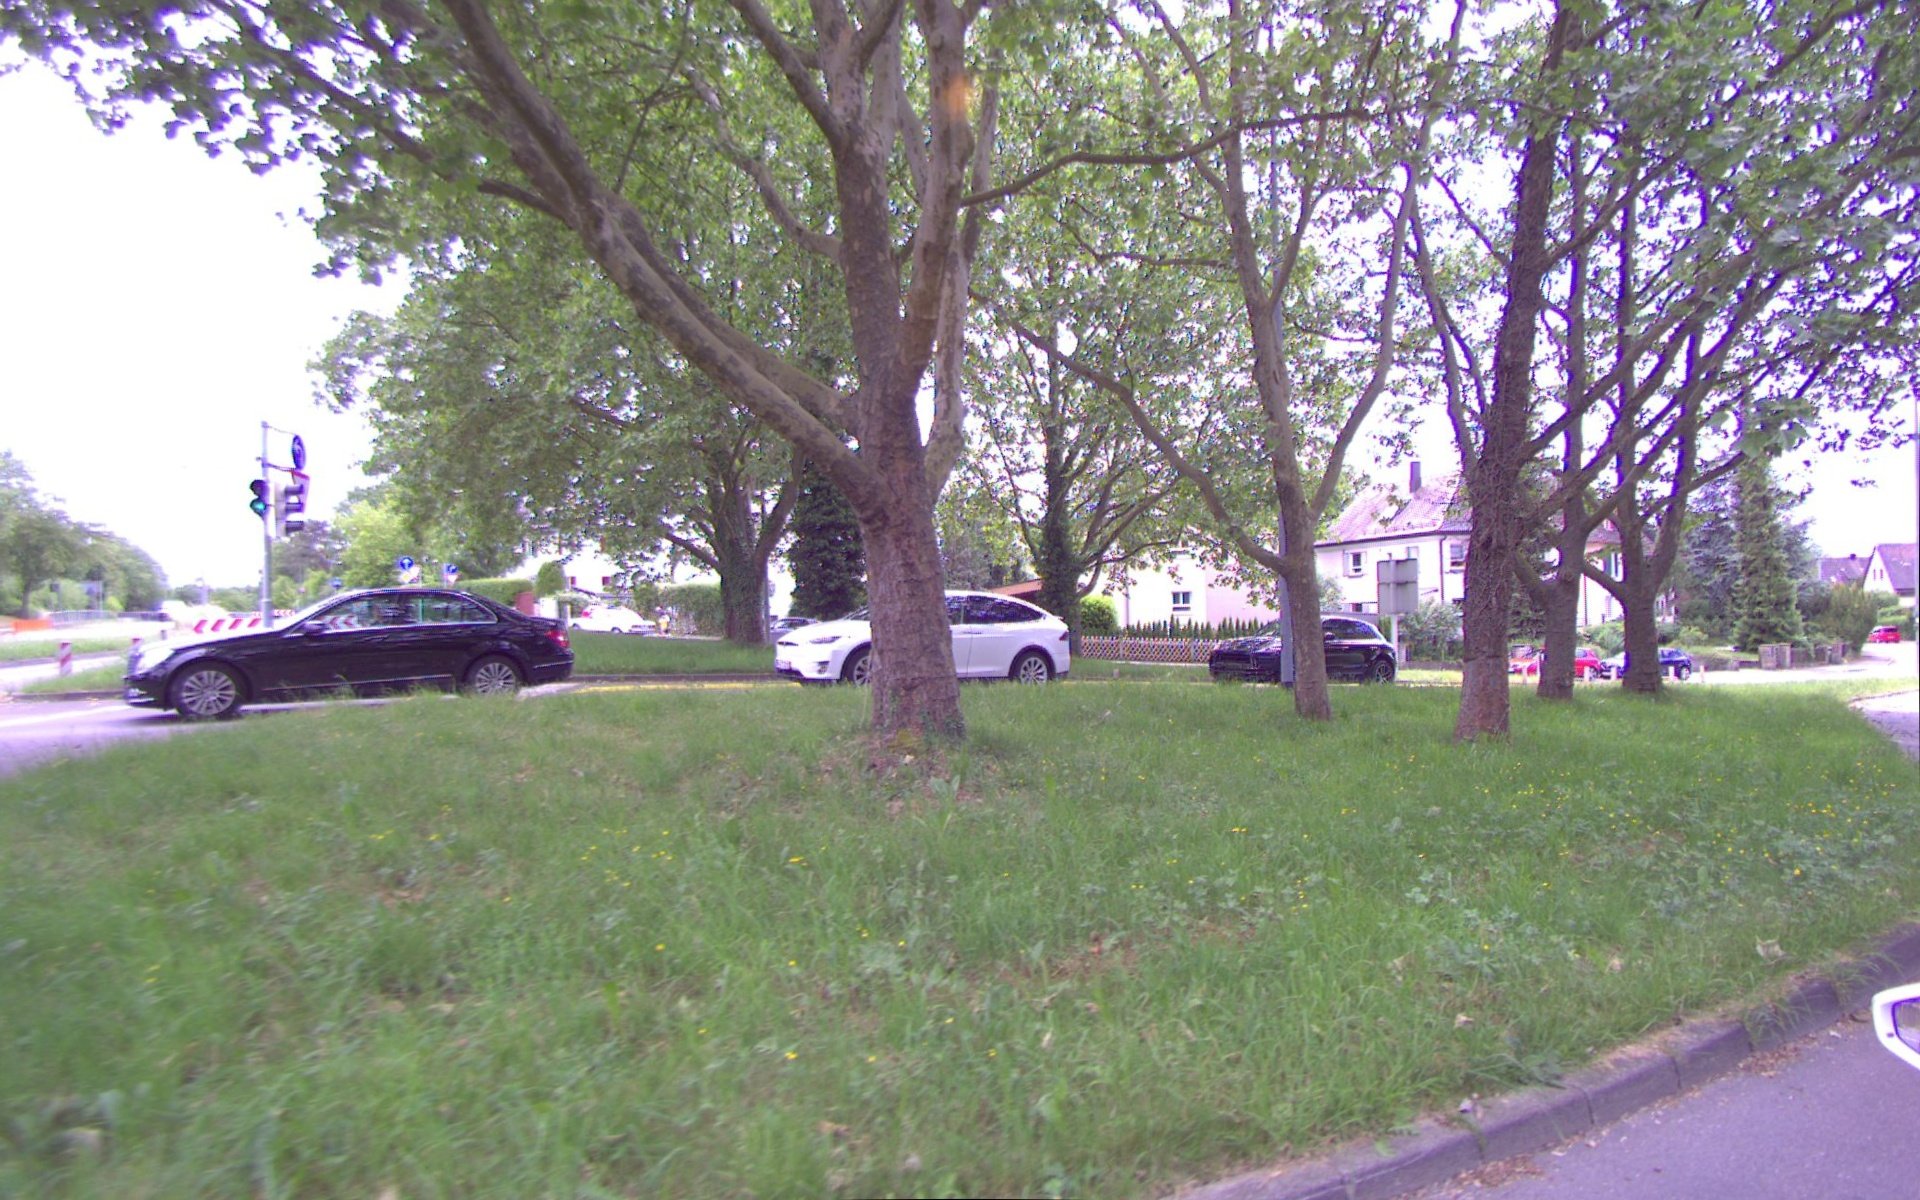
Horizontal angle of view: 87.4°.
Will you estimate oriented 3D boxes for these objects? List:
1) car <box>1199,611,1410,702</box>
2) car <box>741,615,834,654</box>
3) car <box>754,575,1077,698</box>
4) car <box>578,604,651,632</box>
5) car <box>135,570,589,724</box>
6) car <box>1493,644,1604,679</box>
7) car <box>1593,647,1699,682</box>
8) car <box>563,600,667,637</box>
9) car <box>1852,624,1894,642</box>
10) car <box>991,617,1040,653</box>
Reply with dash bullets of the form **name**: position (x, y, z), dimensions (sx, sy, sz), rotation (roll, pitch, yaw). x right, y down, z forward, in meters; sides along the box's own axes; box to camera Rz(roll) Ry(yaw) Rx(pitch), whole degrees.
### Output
- **car**: position (7.219, 1.090, 20.866), dimensions (4.564, 1.612, 1.746), rotation (-1, 0, -34)
- **car**: position (-8.036, 1.577, 46.834), dimensions (3.916, 1.534, 1.662), rotation (2, 1, 15)
- **car**: position (-0.605, 0.476, 15.884), dimensions (4.854, 1.680, 1.840), rotation (-1, 0, -34)
- **car**: position (-20.022, 1.070, 58.285), dimensions (1.583, 1.537, 3.814), rotation (0, -1, 34)
- **car**: position (-6.885, 0.531, 11.970), dimensions (4.341, 1.537, 1.746), rotation (2, -1, -34)
- **car**: position (26.167, 2.721, 44.731), dimensions (4.204, 1.493, 1.729), rotation (1, -2, -12)
- **car**: position (31.034, 2.891, 45.467), dimensions (4.245, 1.493, 1.727), rotation (1, -2, -17)
- **car**: position (-17.417, 0.931, 50.704), dimensions (4.792, 1.815, 2.214), rotation (-1, 0, 26)
- **car**: position (96.043, 3.475, 105.717), dimensions (1.732, 1.821, 4.946), rotation (-1, -2, 23)
- **car**: position (2.757, 1.696, 49.411), dimensions (1.838, 1.568, 3.381), rotation (-2, 0, 13)
